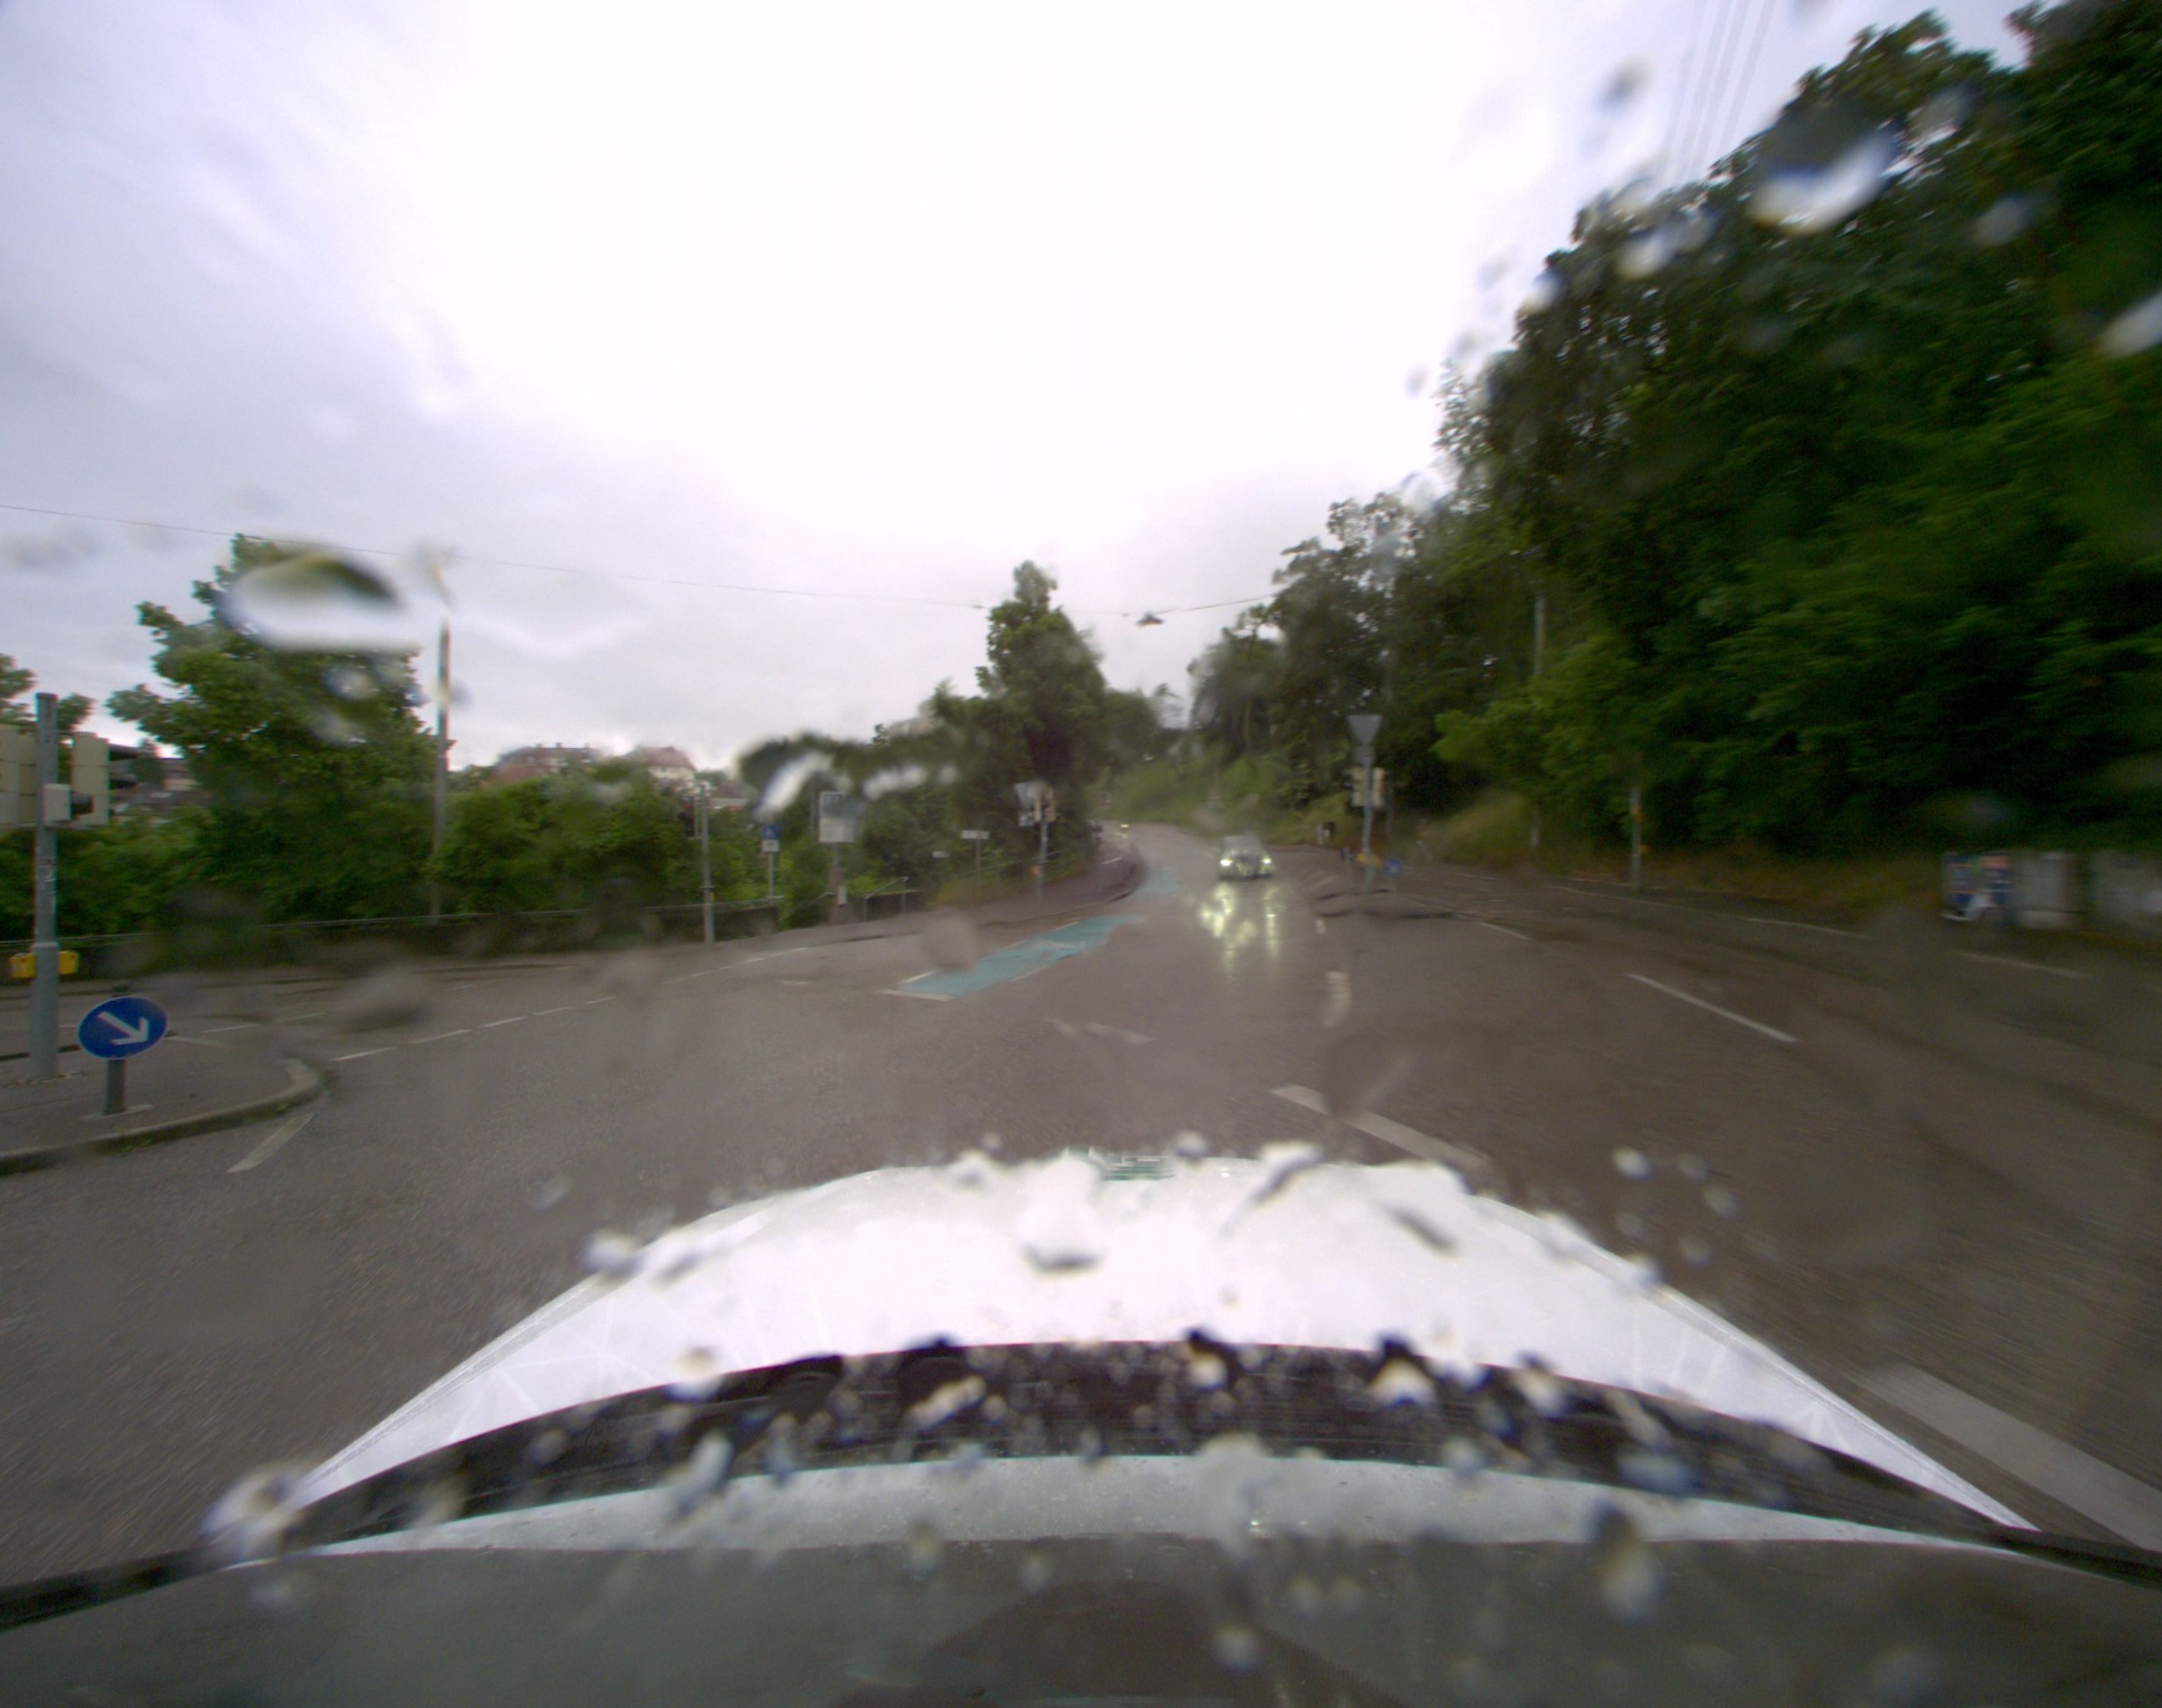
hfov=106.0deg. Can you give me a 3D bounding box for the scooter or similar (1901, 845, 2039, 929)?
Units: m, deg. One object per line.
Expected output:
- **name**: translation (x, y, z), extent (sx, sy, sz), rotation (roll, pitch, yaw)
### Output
- **scooter or similar**: translation (12.549, 0.424, 11.568), extent (0.597, 1.075, 1.778), rotation (-1, 1, 21)

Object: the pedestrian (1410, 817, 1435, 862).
- **pedestrian**: translation (13.410, -0.566, 32.020), extent (0.645, 1.752, 0.800), rotation (0, 2, 1)

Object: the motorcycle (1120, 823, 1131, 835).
- **motorcycle**: translation (4.478, -2.533, 81.987), extent (0.936, 1.143, 2.647), rotation (-1, 3, 1)

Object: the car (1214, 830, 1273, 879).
- **car**: translation (5.810, -0.046, 29.352), extent (1.871, 1.521, 4.706), rotation (-2, 1, 10)

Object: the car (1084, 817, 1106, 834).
- **car**: translation (1.437, -3.068, 86.726), extent (1.834, 1.691, 3.992), rotation (-2, 3, -6)

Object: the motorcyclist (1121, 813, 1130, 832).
- **motorcyclist**: translation (4.467, -3.148, 82.050), extent (0.881, 1.873, 1.255), rotation (-1, 3, 0)
